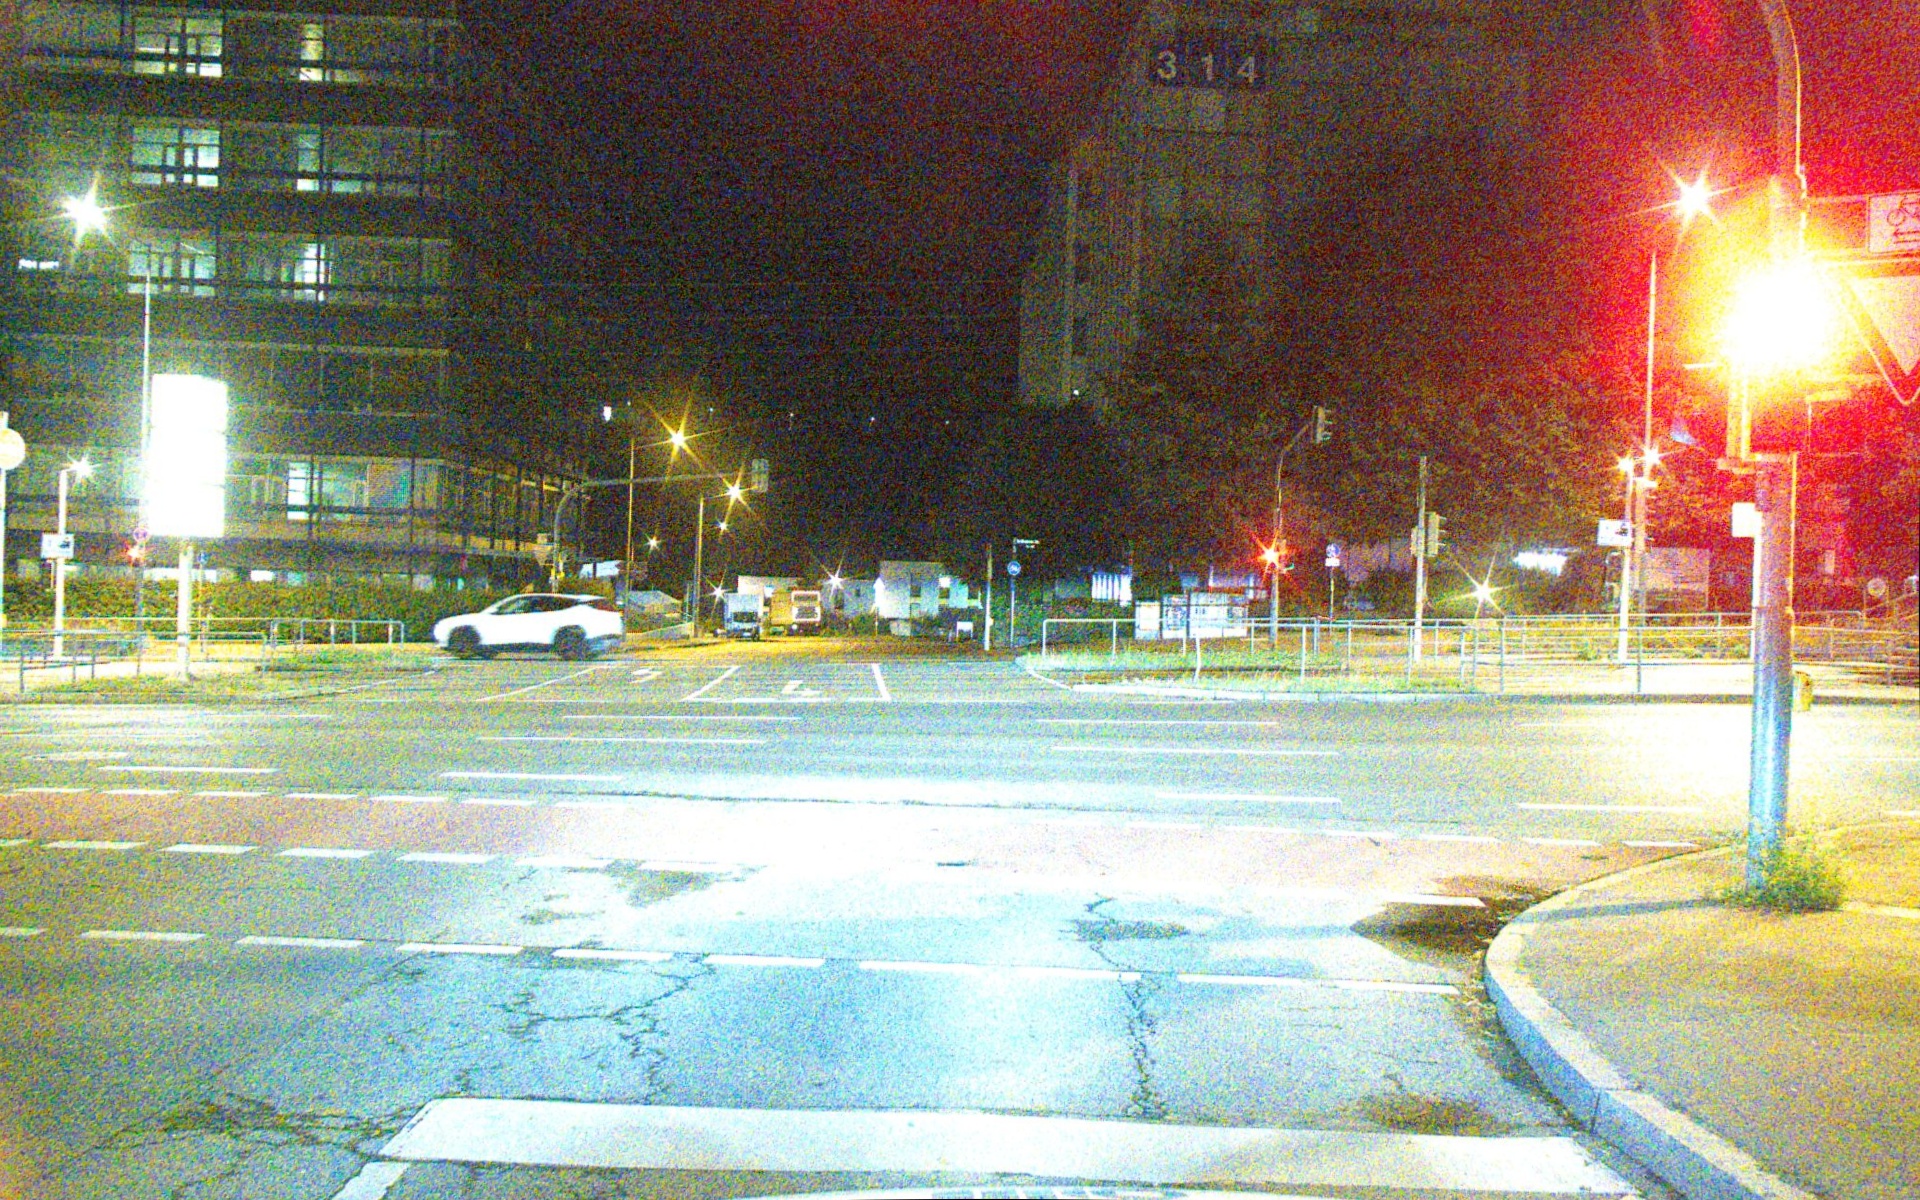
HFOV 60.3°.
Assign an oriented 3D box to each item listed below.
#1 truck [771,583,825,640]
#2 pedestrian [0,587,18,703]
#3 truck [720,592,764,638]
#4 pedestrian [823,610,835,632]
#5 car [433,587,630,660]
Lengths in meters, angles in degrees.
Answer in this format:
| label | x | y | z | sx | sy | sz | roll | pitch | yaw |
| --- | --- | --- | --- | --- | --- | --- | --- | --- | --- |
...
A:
| label | x | y | z | sx | sy | sz | roll | pitch | yaw |
| --- | --- | --- | --- | --- | --- | --- | --- | --- | --- |
| truck | -14.625 | 1.028 | 148.604 | 3.307 | 4.927 | 7.868 | 2 | -1 | -17 |
| pedestrian | -14.811 | 0.669 | 24.993 | 0.664 | 1.752 | 0.705 | 1 | -1 | 28 |
| truck | -15.755 | 1.111 | 119.298 | 2.377 | 3.143 | 6.414 | 2 | -1 | -14 |
| pedestrian | -11.692 | 1.859 | 147.230 | 0.836 | 1.945 | 1.001 | 2 | -1 | -18 |
| car | -10.577 | 0.581 | 41.077 | 4.306 | 1.672 | 1.942 | 1 | -1 | 2 |
